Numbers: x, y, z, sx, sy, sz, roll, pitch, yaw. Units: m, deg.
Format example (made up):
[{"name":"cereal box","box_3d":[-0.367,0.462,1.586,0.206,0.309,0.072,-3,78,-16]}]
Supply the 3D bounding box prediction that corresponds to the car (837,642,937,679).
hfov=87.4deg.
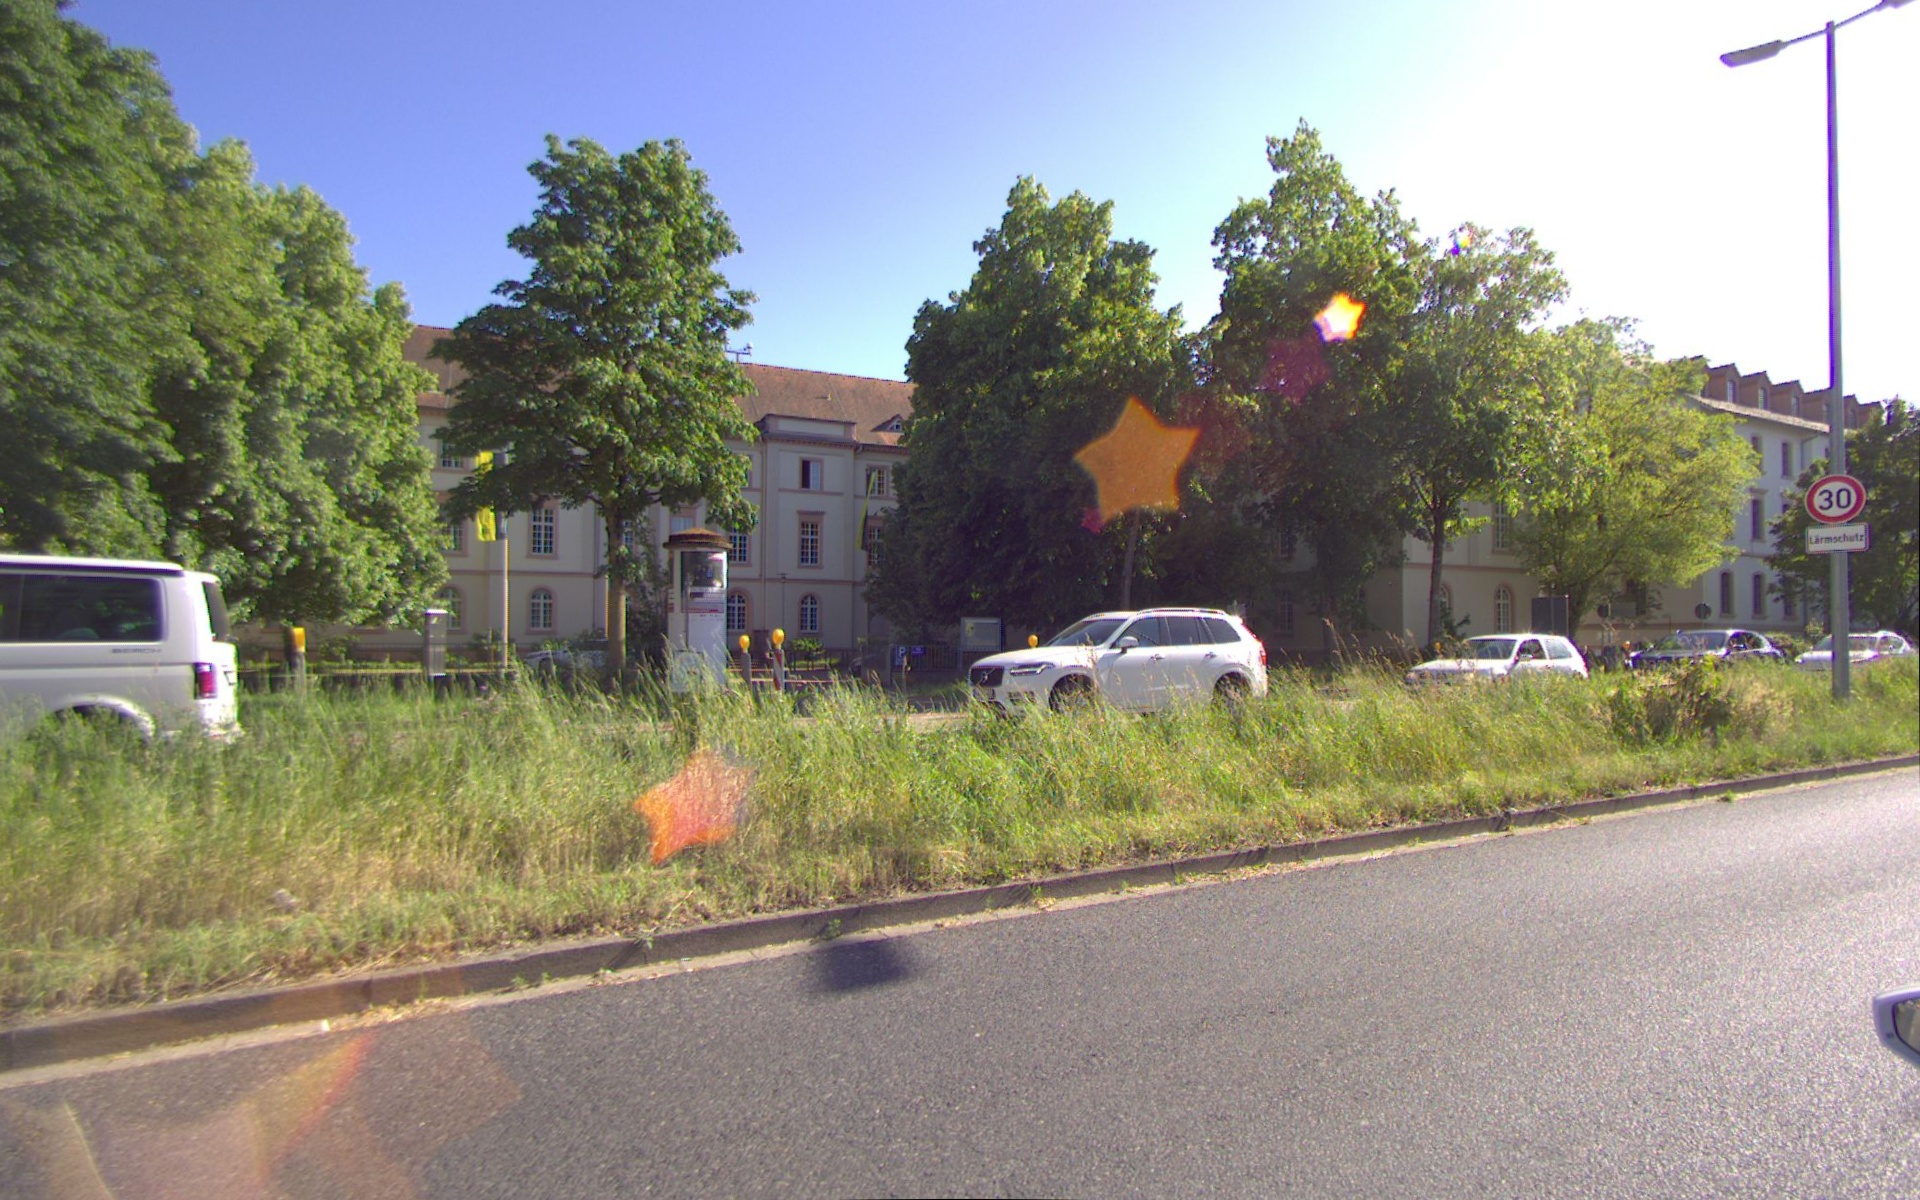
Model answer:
[{"name":"car","box_3d":[-2.768,2.246,37.902,3.447,1.341,1.764,1,-2,-20]}]

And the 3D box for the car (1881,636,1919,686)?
[{"name":"car","box_3d":[31.601,2.024,32.287,4.208,1.539,1.787,4,-2,-30]}]

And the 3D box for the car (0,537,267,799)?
[{"name":"car","box_3d":[-8.912,0.528,8.360,4.960,2.054,2.222,2,-2,-31]}]

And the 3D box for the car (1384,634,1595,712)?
[{"name":"car","box_3d":[10.501,1.392,19.846,4.209,1.369,1.787,2,-2,-31]}]

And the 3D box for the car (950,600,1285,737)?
[{"name":"car","box_3d":[2.439,0.979,14.996,4.974,1.766,1.787,2,-2,-31]}]

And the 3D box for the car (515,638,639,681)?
[{"name":"car","box_3d":[-16.228,2.537,42.620,4.632,1.511,1.634,5,-3,-30]}]

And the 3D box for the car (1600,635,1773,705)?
[{"name":"car","box_3d":[17.314,1.627,23.897,4.394,1.539,1.787,2,-2,-31]}]

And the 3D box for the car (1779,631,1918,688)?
[{"name":"car","box_3d":[25.408,1.672,28.696,4.209,1.539,1.787,2,-2,-31]}]
